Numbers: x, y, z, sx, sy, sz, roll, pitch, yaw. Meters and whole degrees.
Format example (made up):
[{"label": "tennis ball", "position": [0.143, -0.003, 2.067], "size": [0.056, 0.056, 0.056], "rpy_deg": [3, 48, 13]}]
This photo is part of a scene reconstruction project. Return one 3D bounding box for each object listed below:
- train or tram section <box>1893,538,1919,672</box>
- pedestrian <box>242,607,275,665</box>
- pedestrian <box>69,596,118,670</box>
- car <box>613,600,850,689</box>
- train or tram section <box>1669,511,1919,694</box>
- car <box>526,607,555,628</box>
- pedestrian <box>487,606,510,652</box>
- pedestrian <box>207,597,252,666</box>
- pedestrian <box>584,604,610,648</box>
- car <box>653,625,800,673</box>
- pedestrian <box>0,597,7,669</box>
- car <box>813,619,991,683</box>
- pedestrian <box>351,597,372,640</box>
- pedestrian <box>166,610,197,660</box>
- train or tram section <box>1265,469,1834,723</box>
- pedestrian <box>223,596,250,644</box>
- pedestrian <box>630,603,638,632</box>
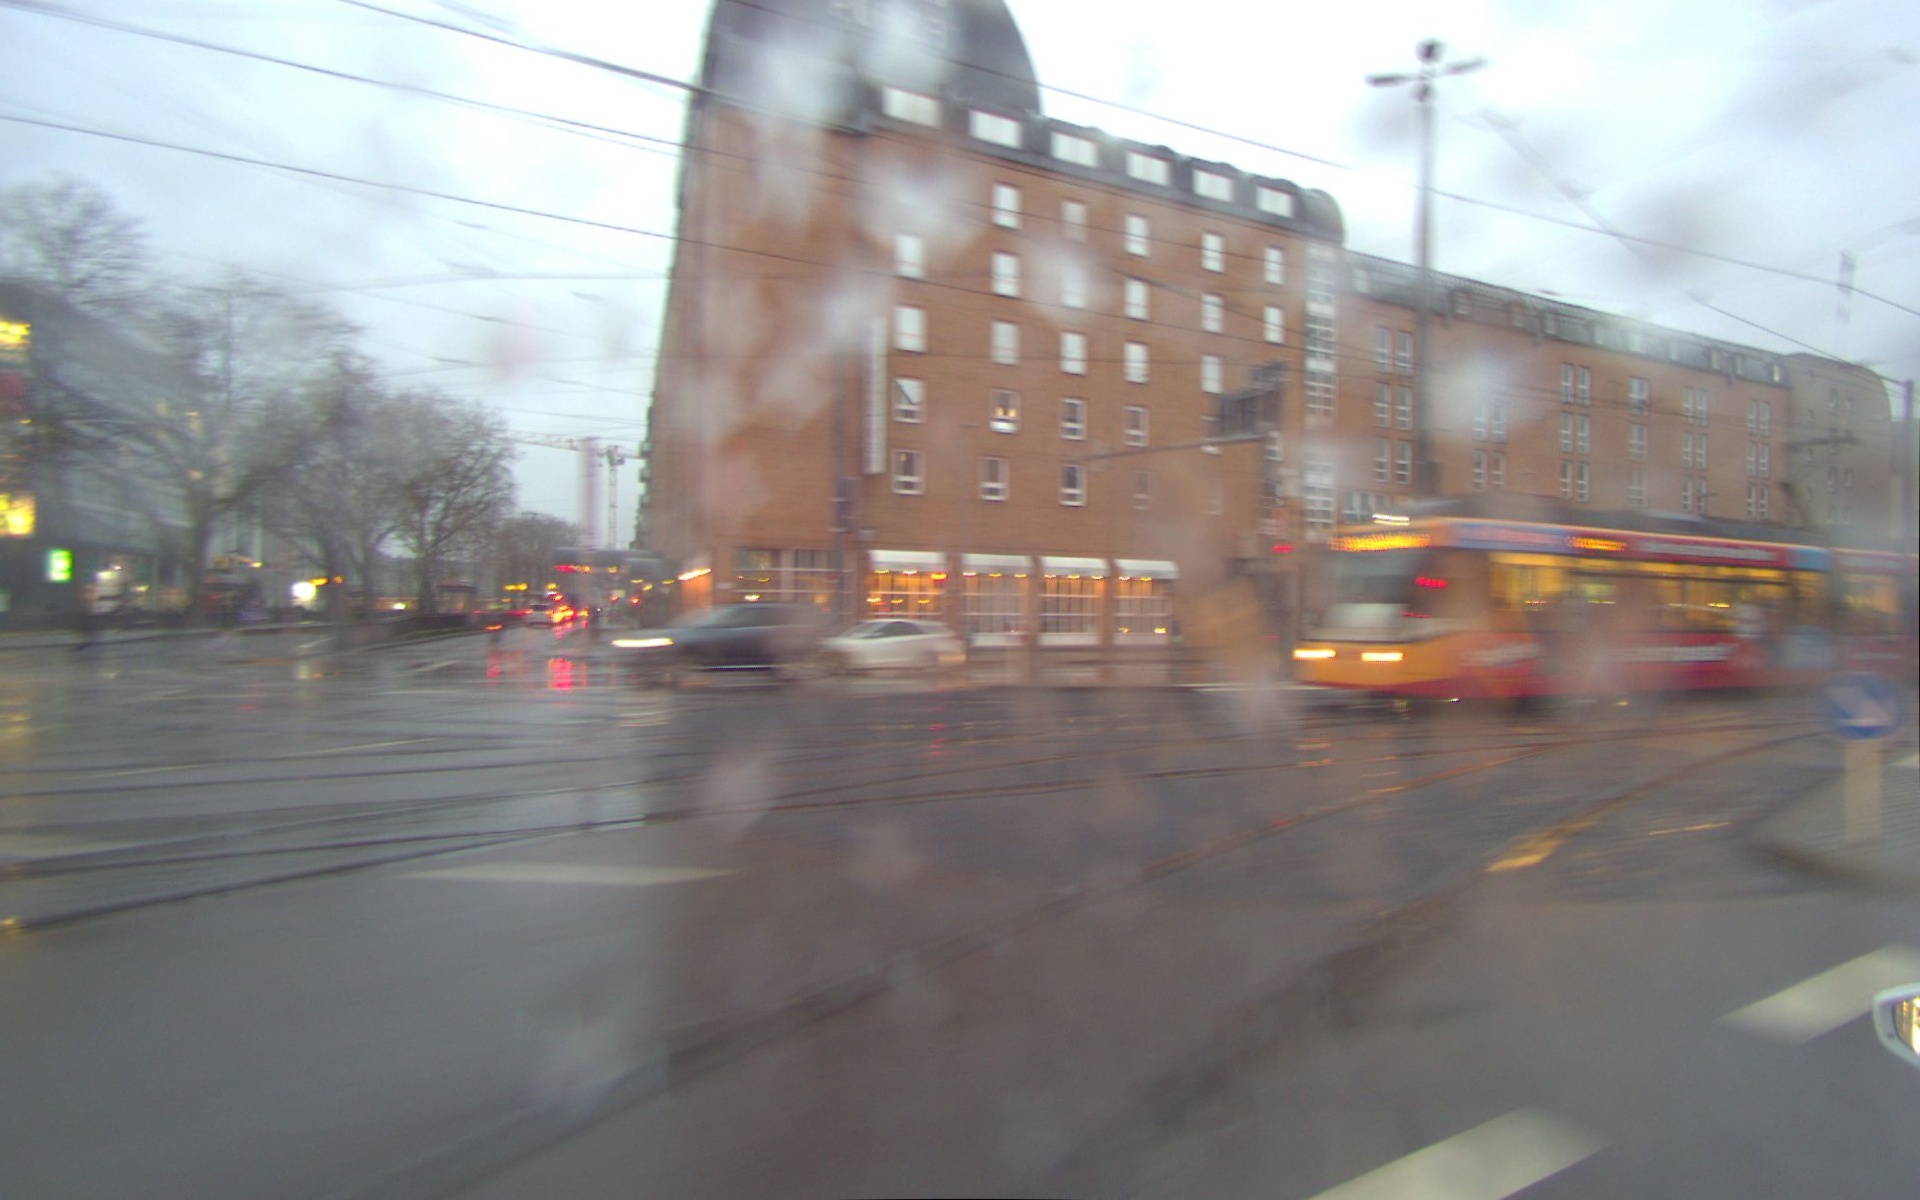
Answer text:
[{"label": "train or tram section", "position": [31.126, 0.226, 28.729], "size": [10.892, 3.616, 2.889], "rpy_deg": [1, 1, -27]}, {"label": "pedestrian", "position": [-19.261, 0.983, 27.592], "size": [0.564, 1.558, 0.519], "rpy_deg": [0, 0, -8]}, {"label": "pedestrian", "position": [-24.481, 0.924, 28.393], "size": [0.744, 2.040, 0.707], "rpy_deg": [1, -1, -1]}, {"label": "car", "position": [-4.849, 0.900, 21.484], "size": [4.646, 1.732, 1.822], "rpy_deg": [1, 0, -28]}, {"label": "train or tram section", "position": [21.471, 0.089, 23.757], "size": [10.892, 3.626, 2.914], "rpy_deg": [1, 1, -27]}, {"label": "car", "position": [-36.071, 1.487, 86.427], "size": [2.075, 1.806, 3.690], "rpy_deg": [1, -1, -19]}, {"label": "pedestrian", "position": [-19.402, 1.210, 42.205], "size": [0.774, 1.925, 0.836], "rpy_deg": [1, -1, -19]}, {"label": "pedestrian", "position": [-21.787, 0.936, 29.973], "size": [0.744, 2.040, 0.800], "rpy_deg": [1, -1, -1]}, {"label": "pedestrian", "position": [-17.017, 1.197, 47.105], "size": [0.922, 2.040, 0.756], "rpy_deg": [0, -1, 40]}, {"label": "car", "position": [-7.081, 1.457, 30.459], "size": [4.166, 1.339, 1.609], "rpy_deg": [1, -1, -21]}, {"label": "pedestrian", "position": [-27.755, 0.941, 28.520], "size": [0.747, 2.040, 0.705], "rpy_deg": [1, -1, -17]}, {"label": "car", "position": [-1.541, 1.307, 26.747], "size": [4.386, 1.577, 1.823], "rpy_deg": [1, 0, -26]}, {"label": "pedestrian", "position": [-28.566, 0.893, 47.956], "size": [0.709, 2.040, 0.743], "rpy_deg": [1, -1, -20]}, {"label": "pedestrian", "position": [-24.086, 1.075, 31.092], "size": [0.564, 1.558, 0.519], "rpy_deg": [0, 0, -8]}, {"label": "train or tram section", "position": [11.220, -0.007, 18.429], "size": [12.097, 3.637, 2.939], "rpy_deg": [1, 1, -27]}, {"label": "pedestrian", "position": [-30.846, 0.849, 42.845], "size": [0.709, 2.040, 0.743], "rpy_deg": [1, -1, -20]}, {"label": "pedestrian", "position": [-22.692, 1.229, 69.869], "size": [0.521, 2.040, 0.553], "rpy_deg": [1, -1, -20]}]
